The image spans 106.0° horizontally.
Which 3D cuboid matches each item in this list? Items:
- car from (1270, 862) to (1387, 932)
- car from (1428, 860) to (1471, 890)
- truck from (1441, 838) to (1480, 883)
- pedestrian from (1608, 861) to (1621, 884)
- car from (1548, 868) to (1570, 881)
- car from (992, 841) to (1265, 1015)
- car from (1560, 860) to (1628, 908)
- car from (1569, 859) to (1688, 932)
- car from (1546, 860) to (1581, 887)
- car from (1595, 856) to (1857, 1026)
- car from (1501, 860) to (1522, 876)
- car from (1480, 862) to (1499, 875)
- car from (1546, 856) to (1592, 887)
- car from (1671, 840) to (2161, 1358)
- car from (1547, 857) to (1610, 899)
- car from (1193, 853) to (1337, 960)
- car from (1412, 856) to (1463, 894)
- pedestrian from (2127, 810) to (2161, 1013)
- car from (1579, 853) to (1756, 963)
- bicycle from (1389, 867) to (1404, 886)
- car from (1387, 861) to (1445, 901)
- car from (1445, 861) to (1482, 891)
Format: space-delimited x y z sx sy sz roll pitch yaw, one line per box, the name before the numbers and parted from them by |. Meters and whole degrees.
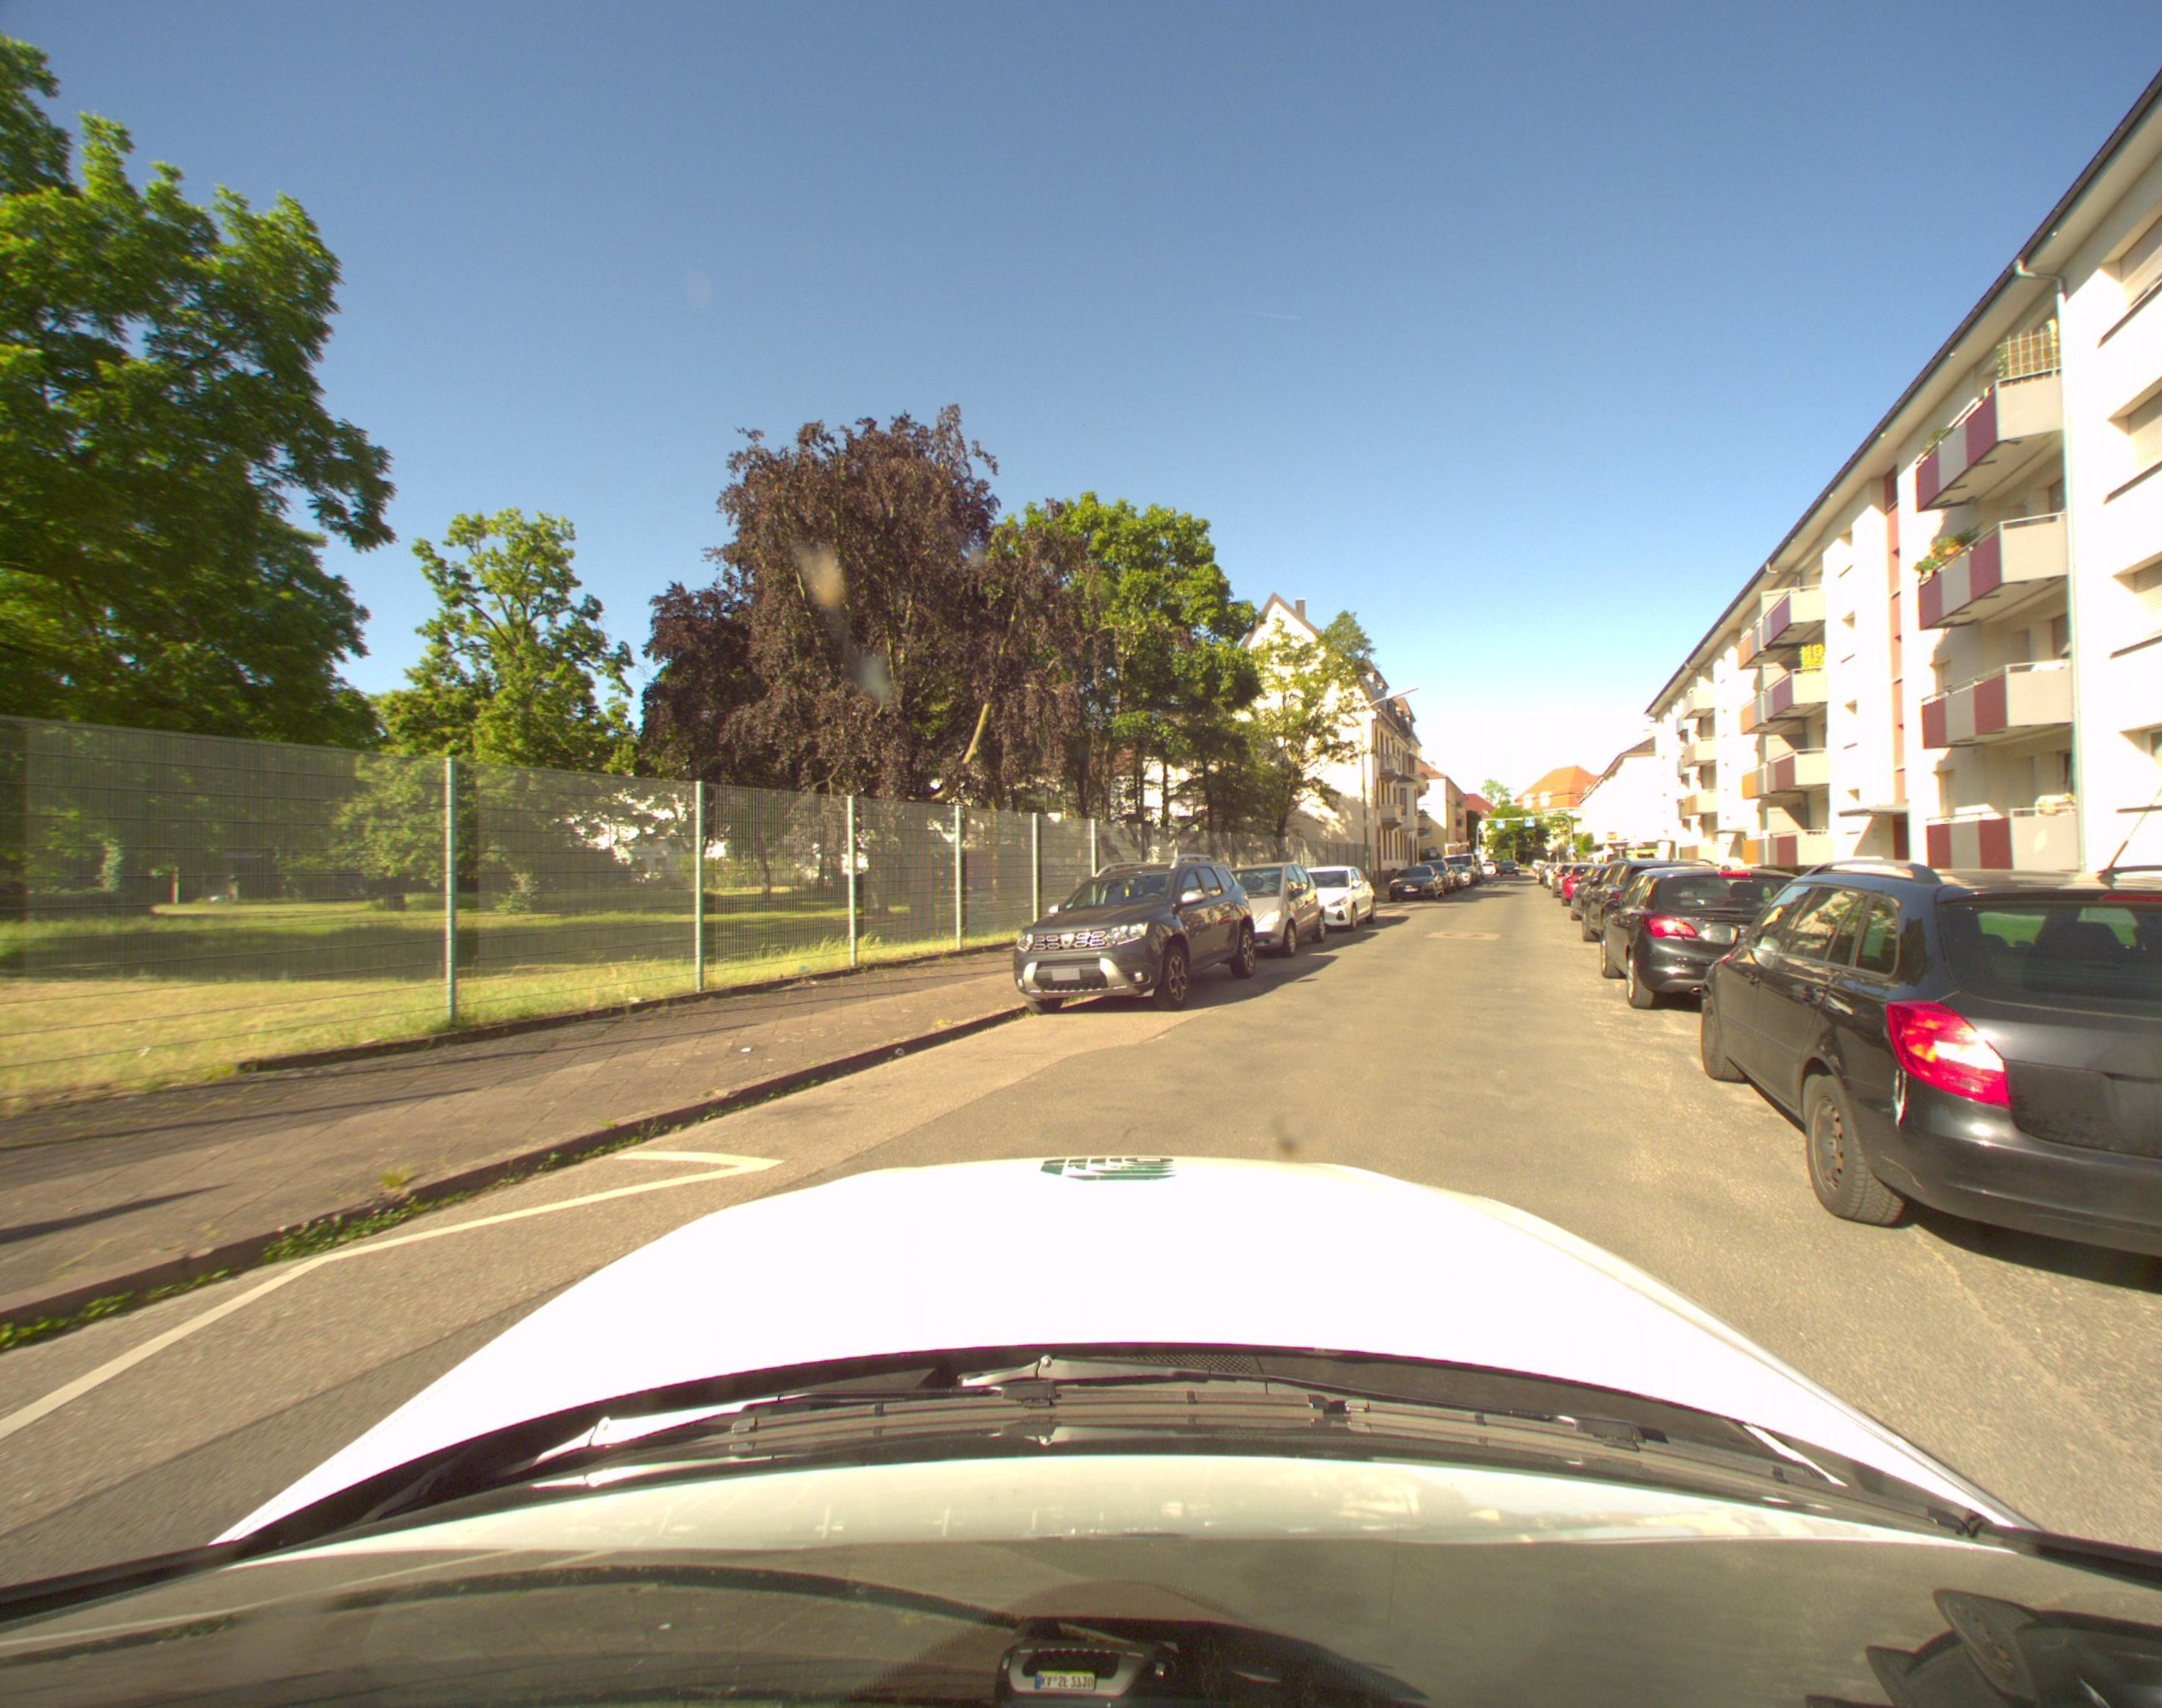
car | 5.938 0.956 19.200 1.777 1.445 4.144 -4 -2 28
car | 20.645 1.152 45.502 1.775 1.563 4.486 0 -1 29
truck | 26.650 0.504 57.075 2.238 2.986 7.318 -1 -2 26
pedestrian | 33.560 1.161 51.233 0.569 1.434 0.474 -3 -2 31
car | 52.034 2.233 88.750 1.828 1.441 3.439 -1 -1 26
car | 0.830 0.795 10.038 1.696 1.664 4.189 -5 -3 27
car | 17.059 0.955 27.223 1.735 1.444 4.551 -1 -1 30
car | 12.502 0.876 18.833 1.736 1.481 4.104 0 -1 26
car | 28.287 1.134 47.813 1.672 1.467 3.604 2 1 29
car | 6.948 0.797 9.192 1.590 1.484 3.820 -1 -1 27
car | 43.607 1.404 82.535 1.804 1.634 4.282 -2 -1 28
car | 48.766 1.699 97.277 1.774 1.480 4.124 -3 -1 29
car | 26.179 0.944 43.765 1.671 1.462 3.841 5 1 26
car | 4.408 0.762 4.164 1.603 1.548 4.109 -1 -2 27
car | 20.498 0.942 33.694 1.881 1.622 4.629 -1 -1 27
car | 3.439 0.895 14.749 1.549 1.643 3.637 -5 -3 27
car | 17.424 1.013 39.645 1.861 1.664 4.961 -4 -2 27
pedestrian | 9.838 0.504 7.105 0.639 1.772 0.846 -1 -2 37
car | 9.687 0.793 13.797 1.736 1.559 4.280 0 -1 26
bicycle | 21.754 1.544 56.135 0.623 1.204 2.355 -1 -1 29
car | 14.073 1.098 34.088 1.777 1.471 4.529 -4 -2 27
car | 23.835 1.346 50.642 1.775 1.541 4.669 -7 -3 26
